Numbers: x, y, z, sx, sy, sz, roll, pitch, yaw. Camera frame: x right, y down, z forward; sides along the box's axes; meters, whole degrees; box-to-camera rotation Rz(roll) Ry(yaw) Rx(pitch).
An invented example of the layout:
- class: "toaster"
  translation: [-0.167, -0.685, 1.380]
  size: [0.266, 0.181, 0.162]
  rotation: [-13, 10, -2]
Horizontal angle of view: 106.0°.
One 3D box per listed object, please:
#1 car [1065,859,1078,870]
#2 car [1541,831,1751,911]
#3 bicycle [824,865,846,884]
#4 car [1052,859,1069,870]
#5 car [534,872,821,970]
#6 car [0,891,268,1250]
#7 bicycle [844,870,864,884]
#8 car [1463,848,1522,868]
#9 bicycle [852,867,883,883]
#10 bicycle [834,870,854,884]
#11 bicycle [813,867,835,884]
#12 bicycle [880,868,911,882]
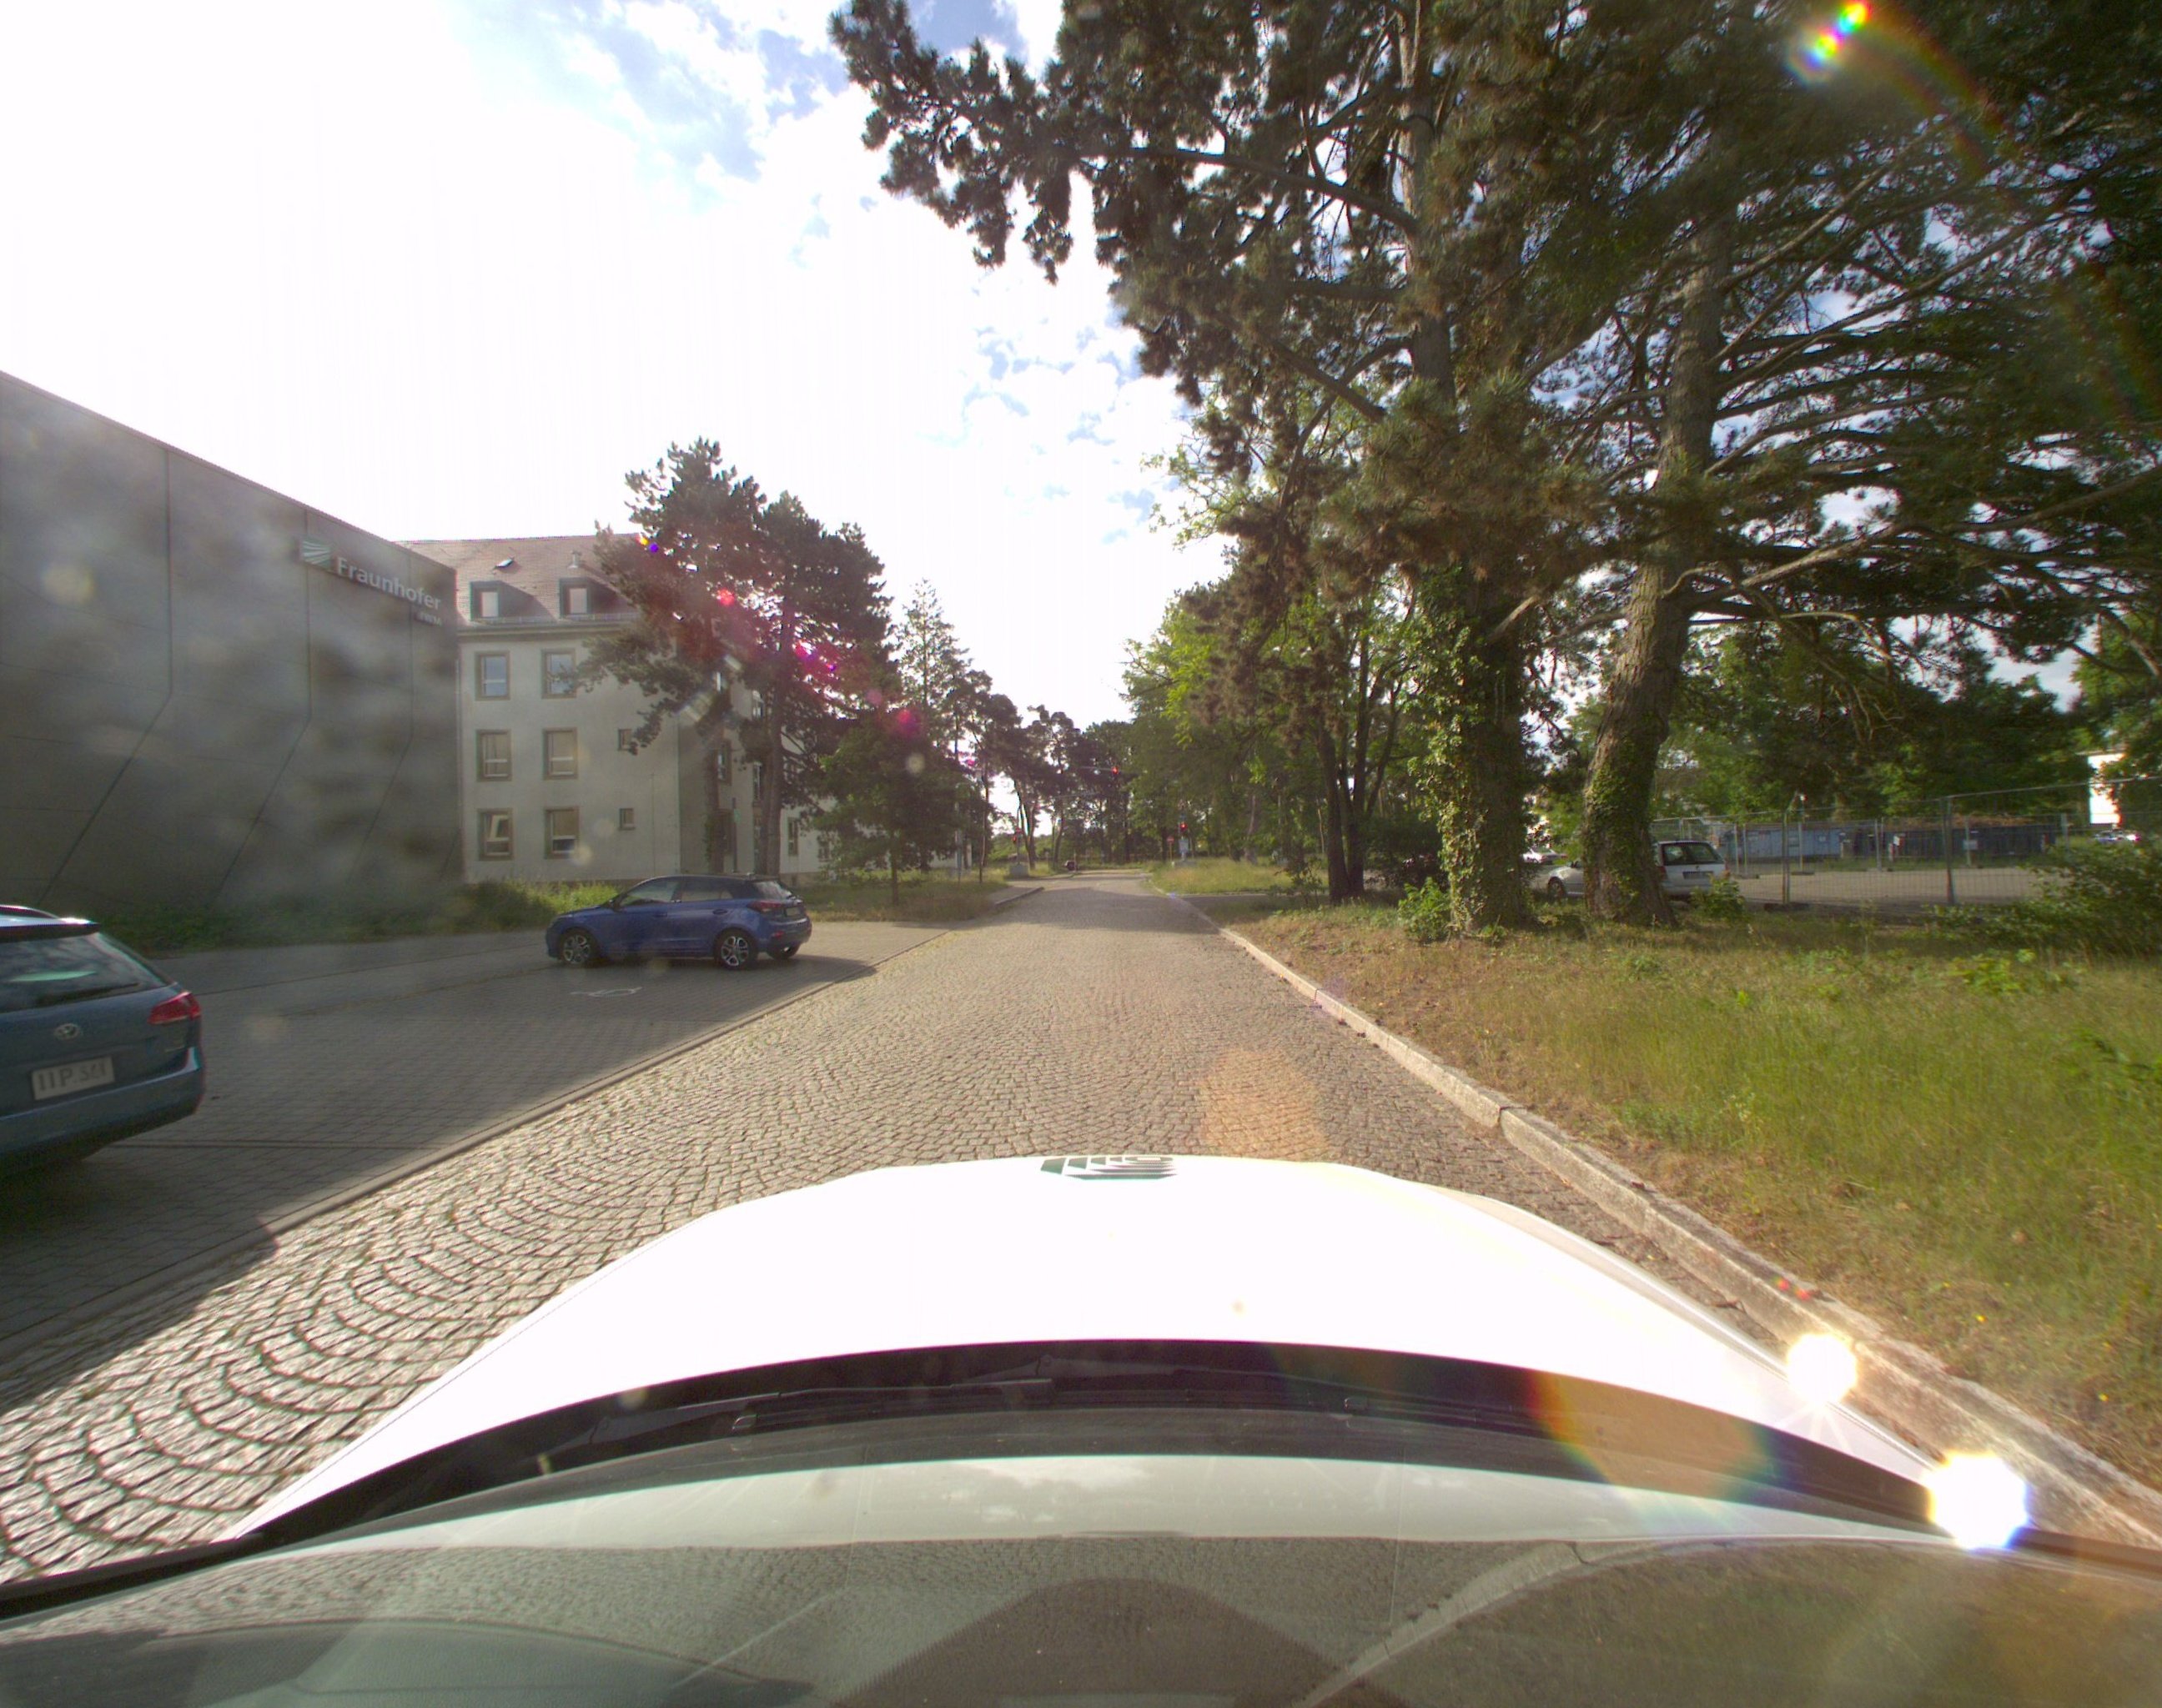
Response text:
- class: "car"
  translation: [-1.343, 1.529, 119.499]
  size: [1.839, 1.486, 3.999]
  rotation: [-2, 0, 0]
- class: "car"
  translation: [11.981, 0.339, 17.637]
  size: [1.663, 1.468, 3.997]
  rotation: [-2, 0, -1]
- class: "bicycle"
  translation: [-19.245, 1.566, 63.854]
  size: [0.823, 1.437, 2.555]
  rotation: [-2, 0, 2]
- class: "car"
  translation: [-3.127, 1.593, 124.245]
  size: [1.772, 1.490, 3.765]
  rotation: [-2, 0, 9]
- class: "car"
  translation: [-6.467, 1.039, 13.328]
  size: [3.819, 1.464, 1.721]
  rotation: [0, -1, 3]
- class: "car"
  translation: [-6.770, 0.960, 3.769]
  size: [4.243, 1.464, 1.680]
  rotation: [0, 1, -1]
- class: "bicycle"
  translation: [-17.682, 1.762, 63.514]
  size: [0.823, 1.047, 2.125]
  rotation: [-2, 0, 2]
- class: "car"
  translation: [27.979, 0.271, 55.543]
  size: [1.726, 1.312, 4.329]
  rotation: [0, 0, -2]
- class: "bicycle"
  translation: [-16.283, 1.614, 62.228]
  size: [2.111, 1.108, 0.828]
  rotation: [-2, -1, -2]
- class: "bicycle"
  translation: [-18.464, 1.767, 63.491]
  size: [0.823, 1.047, 2.125]
  rotation: [-2, 0, 2]
- class: "bicycle"
  translation: [-20.026, 1.661, 63.572]
  size: [0.823, 1.281, 2.555]
  rotation: [-2, 0, 2]
- class: "bicycle"
  translation: [-14.160, 1.598, 62.269]
  size: [2.111, 1.047, 0.828]
  rotation: [-2, -1, -2]
